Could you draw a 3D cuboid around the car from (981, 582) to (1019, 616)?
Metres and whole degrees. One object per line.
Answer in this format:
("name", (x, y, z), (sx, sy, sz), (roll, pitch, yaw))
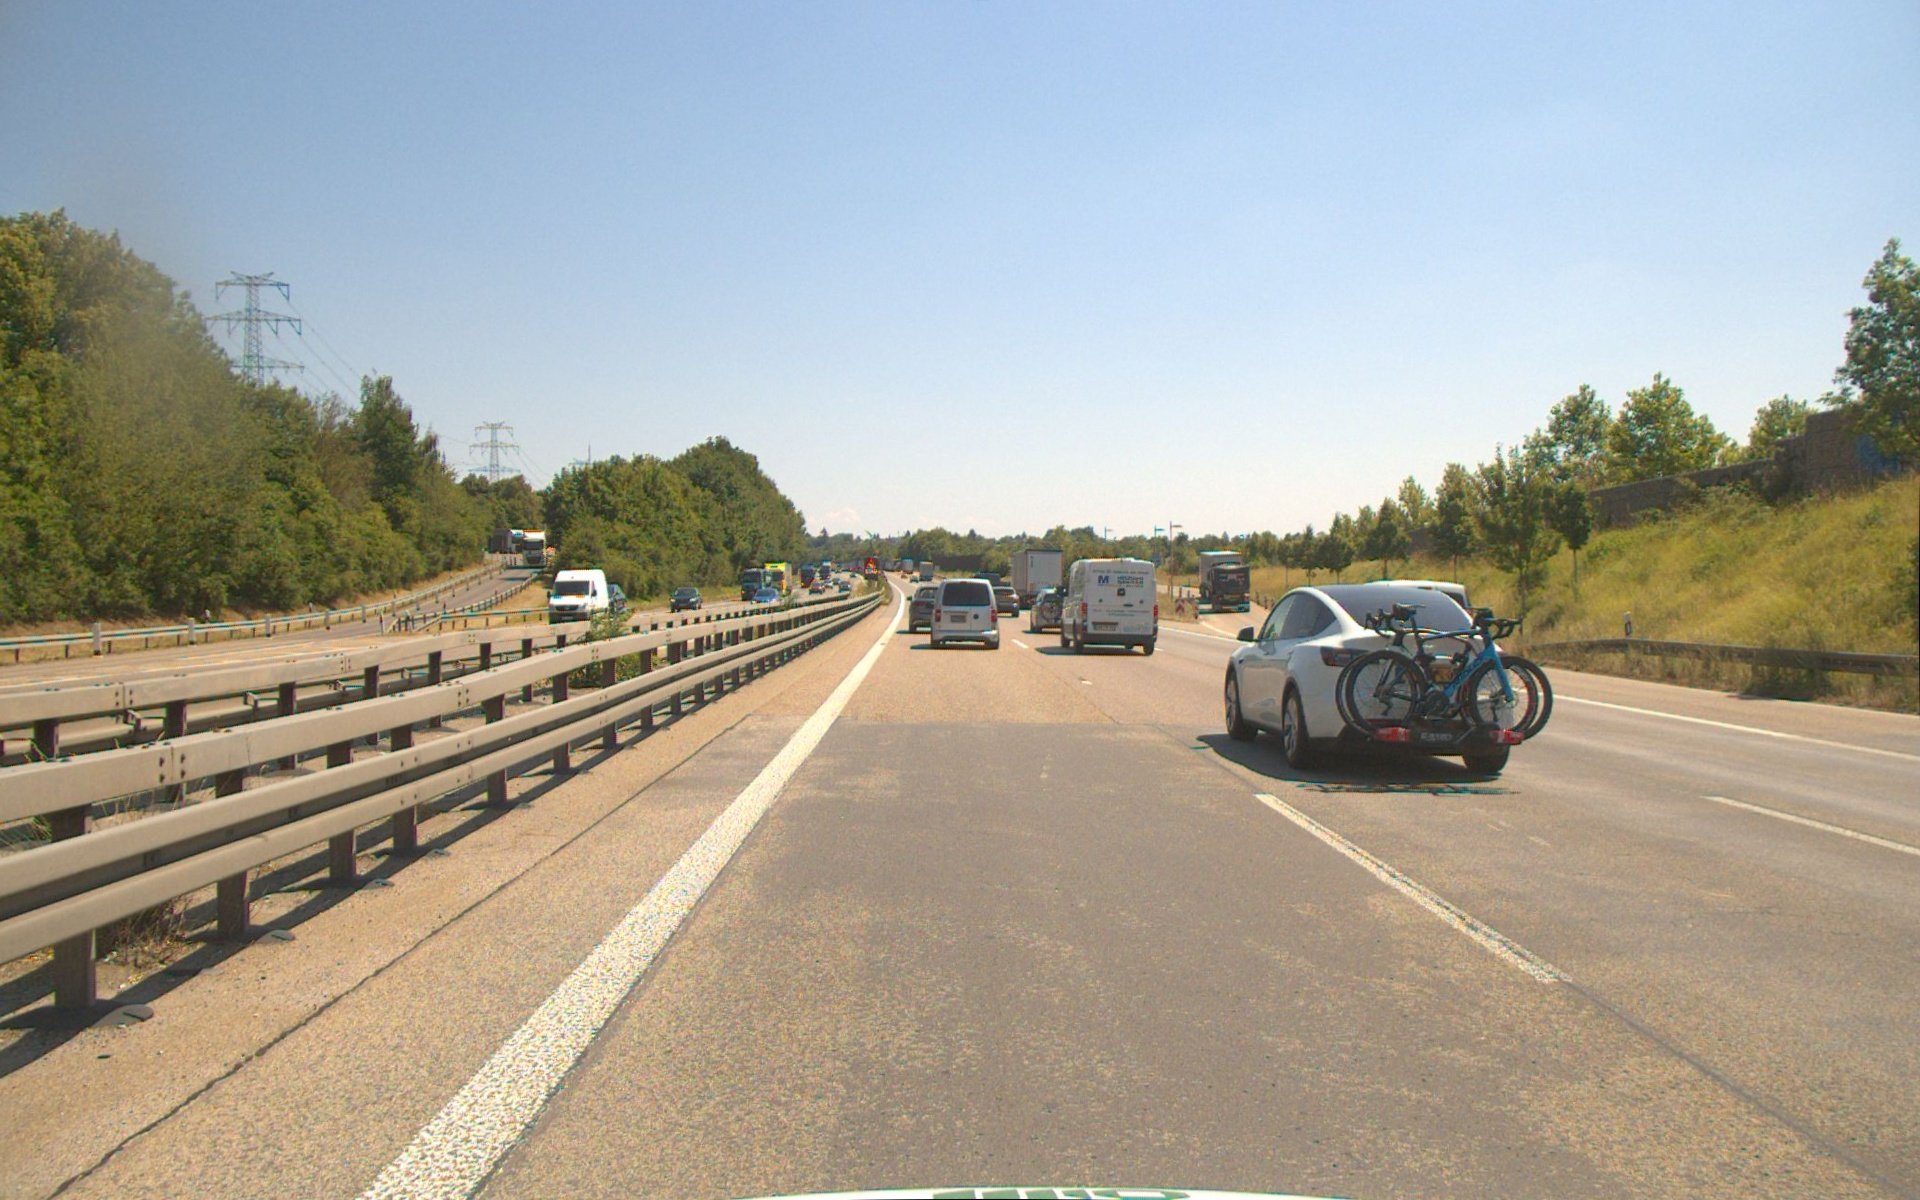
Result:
("car", (2.091, -0.055, 87.340), (1.863, 1.701, 4.088), (-1, 1, -1))

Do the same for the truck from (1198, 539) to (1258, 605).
("truck", (18.218, -1.871, 111.971), (3.707, 4.154, 12.530), (1, 1, 10))

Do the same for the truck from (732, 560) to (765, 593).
("truck", (-22.209, -2.483, 173.622), (2.855, 3.358, 5.330), (-1, 1, -2))

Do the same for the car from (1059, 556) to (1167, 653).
("car", (3.799, 0.062, 42.101), (2.137, 2.293, 5.363), (1, 1, -1))

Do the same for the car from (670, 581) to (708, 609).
("car", (-18.975, -0.394, 115.877), (2.114, 1.831, 4.511), (-2, 1, -4))

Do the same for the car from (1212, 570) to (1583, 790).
("car", (3.821, 0.570, 15.636), (1.911, 1.665, 5.600), (1, 1, -1))

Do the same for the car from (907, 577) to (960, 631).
("car", (-0.879, 0.107, 56.344), (1.709, 1.731, 4.088), (-1, 1, -1))

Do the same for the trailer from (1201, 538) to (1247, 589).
("trailer", (22.861, -3.132, 143.943), (2.988, 4.154, 14.268), (1, 1, 5))

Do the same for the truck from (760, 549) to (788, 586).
("truck", (-22.198, -3.869, 197.235), (3.111, 4.416, 3.511), (-1, 1, -3))

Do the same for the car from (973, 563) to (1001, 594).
("car", (1.680, -1.395, 105.365), (1.640, 1.924, 4.088), (-1, 1, -1))

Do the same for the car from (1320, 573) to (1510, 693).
("car", (7.702, 0.483, 28.403), (1.911, 1.869, 4.176), (-1, 1, -3))

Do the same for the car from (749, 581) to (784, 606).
("car", (-12.439, -0.444, 106.548), (1.745, 1.499, 4.354), (-2, 1, -1))

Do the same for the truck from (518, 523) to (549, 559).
("truck", (-48.306, -6.739, 187.418), (2.890, 3.962, 4.315), (-1, 3, -10))

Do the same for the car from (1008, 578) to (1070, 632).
("car", (2.754, 0.147, 58.585), (1.936, 1.763, 4.088), (-1, 1, -1))

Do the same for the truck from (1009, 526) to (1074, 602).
("truck", (5.735, -2.563, 118.551), (3.711, 5.086, 12.517), (1, 1, -1))

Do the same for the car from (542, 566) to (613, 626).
("car", (-18.171, -0.234, 78.889), (2.067, 2.685, 6.003), (-2, 1, -2))

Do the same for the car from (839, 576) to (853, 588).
("car", (-15.905, -2.529, 230.413), (1.746, 1.652, 3.999), (-1, 1, -2))

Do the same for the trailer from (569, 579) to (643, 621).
("trailer", (-18.182, -0.050, 85.328), (2.710, 1.979, 6.720), (-2, 1, -4))

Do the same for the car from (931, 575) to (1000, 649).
("car", (0.112, 0.268, 43.396), (1.709, 1.795, 4.088), (-1, 1, -1))

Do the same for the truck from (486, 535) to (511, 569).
("truck", (-58.493, -6.068, 209.675), (2.506, 4.077, 11.750), (1, 1, -13))
